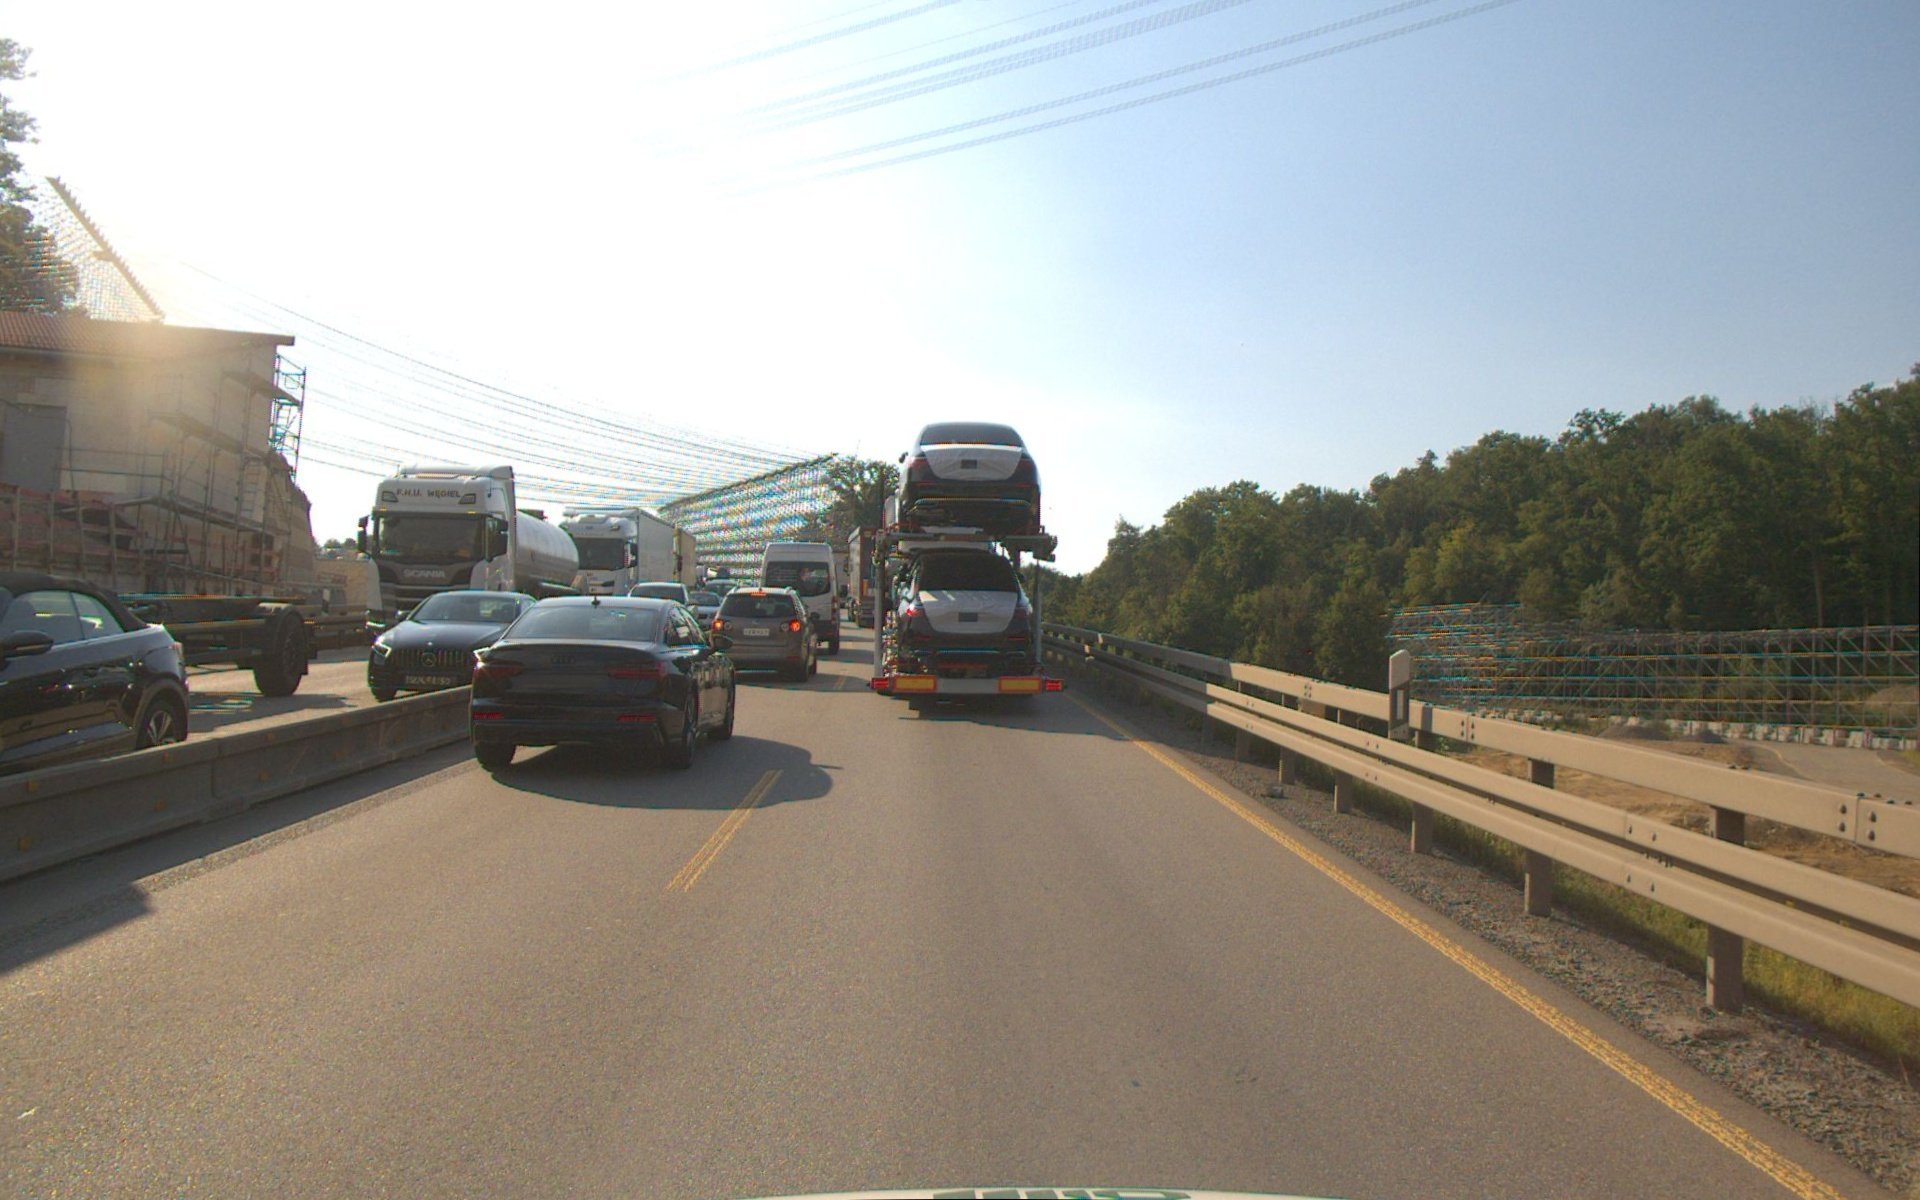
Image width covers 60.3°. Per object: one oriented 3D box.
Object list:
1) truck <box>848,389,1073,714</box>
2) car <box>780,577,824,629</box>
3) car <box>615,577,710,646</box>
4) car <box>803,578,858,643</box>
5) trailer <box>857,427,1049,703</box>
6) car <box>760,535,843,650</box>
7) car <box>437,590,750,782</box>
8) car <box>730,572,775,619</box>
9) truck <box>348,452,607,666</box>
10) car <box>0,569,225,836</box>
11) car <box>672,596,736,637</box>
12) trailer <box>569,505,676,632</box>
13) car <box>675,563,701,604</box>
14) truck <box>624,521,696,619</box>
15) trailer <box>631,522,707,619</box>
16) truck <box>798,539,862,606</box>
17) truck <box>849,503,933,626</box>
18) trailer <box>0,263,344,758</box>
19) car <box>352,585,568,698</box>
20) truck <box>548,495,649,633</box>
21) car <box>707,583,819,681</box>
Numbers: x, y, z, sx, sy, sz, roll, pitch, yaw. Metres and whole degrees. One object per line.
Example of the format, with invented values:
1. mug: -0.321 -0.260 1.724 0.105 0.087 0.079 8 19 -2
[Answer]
1. truck: -0.030 -0.560 23.506 2.811 4.050 5.770 0 -1 -1
2. car: -6.386 0.135 66.646 1.636 2.019 3.812 0 -1 -7
3. car: -7.678 0.308 43.028 1.809 1.676 4.557 0 -1 -2
4. car: -4.194 0.357 53.128 1.636 2.019 3.812 0 -1 -7
5. trailer: -0.241 -0.401 31.940 2.816 4.064 15.274 0 -1 -1
6. car: -3.908 -0.142 41.173 1.940 2.731 4.143 0 -1 -5
7. car: -3.242 0.706 15.766 1.901 1.506 5.220 0 -1 -1
8. car: -9.086 -0.213 72.681 1.797 1.950 4.859 1 1 -5
9. truck: -10.825 -0.807 39.014 2.753 4.039 13.883 2 0 -4
10. car: -6.372 0.601 10.336 1.681 1.534 4.290 0 -1 -1
11. car: -8.376 0.535 54.368 1.677 1.274 4.048 0 -1 -4
12. trailer: -12.529 -0.976 62.379 2.405 4.340 12.134 0 -1 -4
13. car: -19.444 -1.188 118.252 1.636 2.813 4.952 1 1 -7
14. truck: -13.837 -1.292 76.549 2.838 4.346 5.763 0 -1 -6
15. trailer: -14.609 -1.287 83.987 2.838 4.471 14.360 0 -1 -6
16. truck: -9.912 -2.064 124.750 3.582 4.758 11.666 0 1 -10
17. truck: -3.110 -1.459 70.761 3.165 4.758 11.685 1 1 -4
18. trailer: -9.640 -0.768 14.817 2.646 4.278 15.991 0 -1 -2
19. car: -6.919 0.566 23.423 1.704 1.427 4.900 0 -1 -2
20. truck: -11.958 -1.093 55.217 2.396 4.346 6.315 0 -1 -4
21. car: -3.446 0.560 29.496 1.667 1.615 4.144 0 -1 -3
